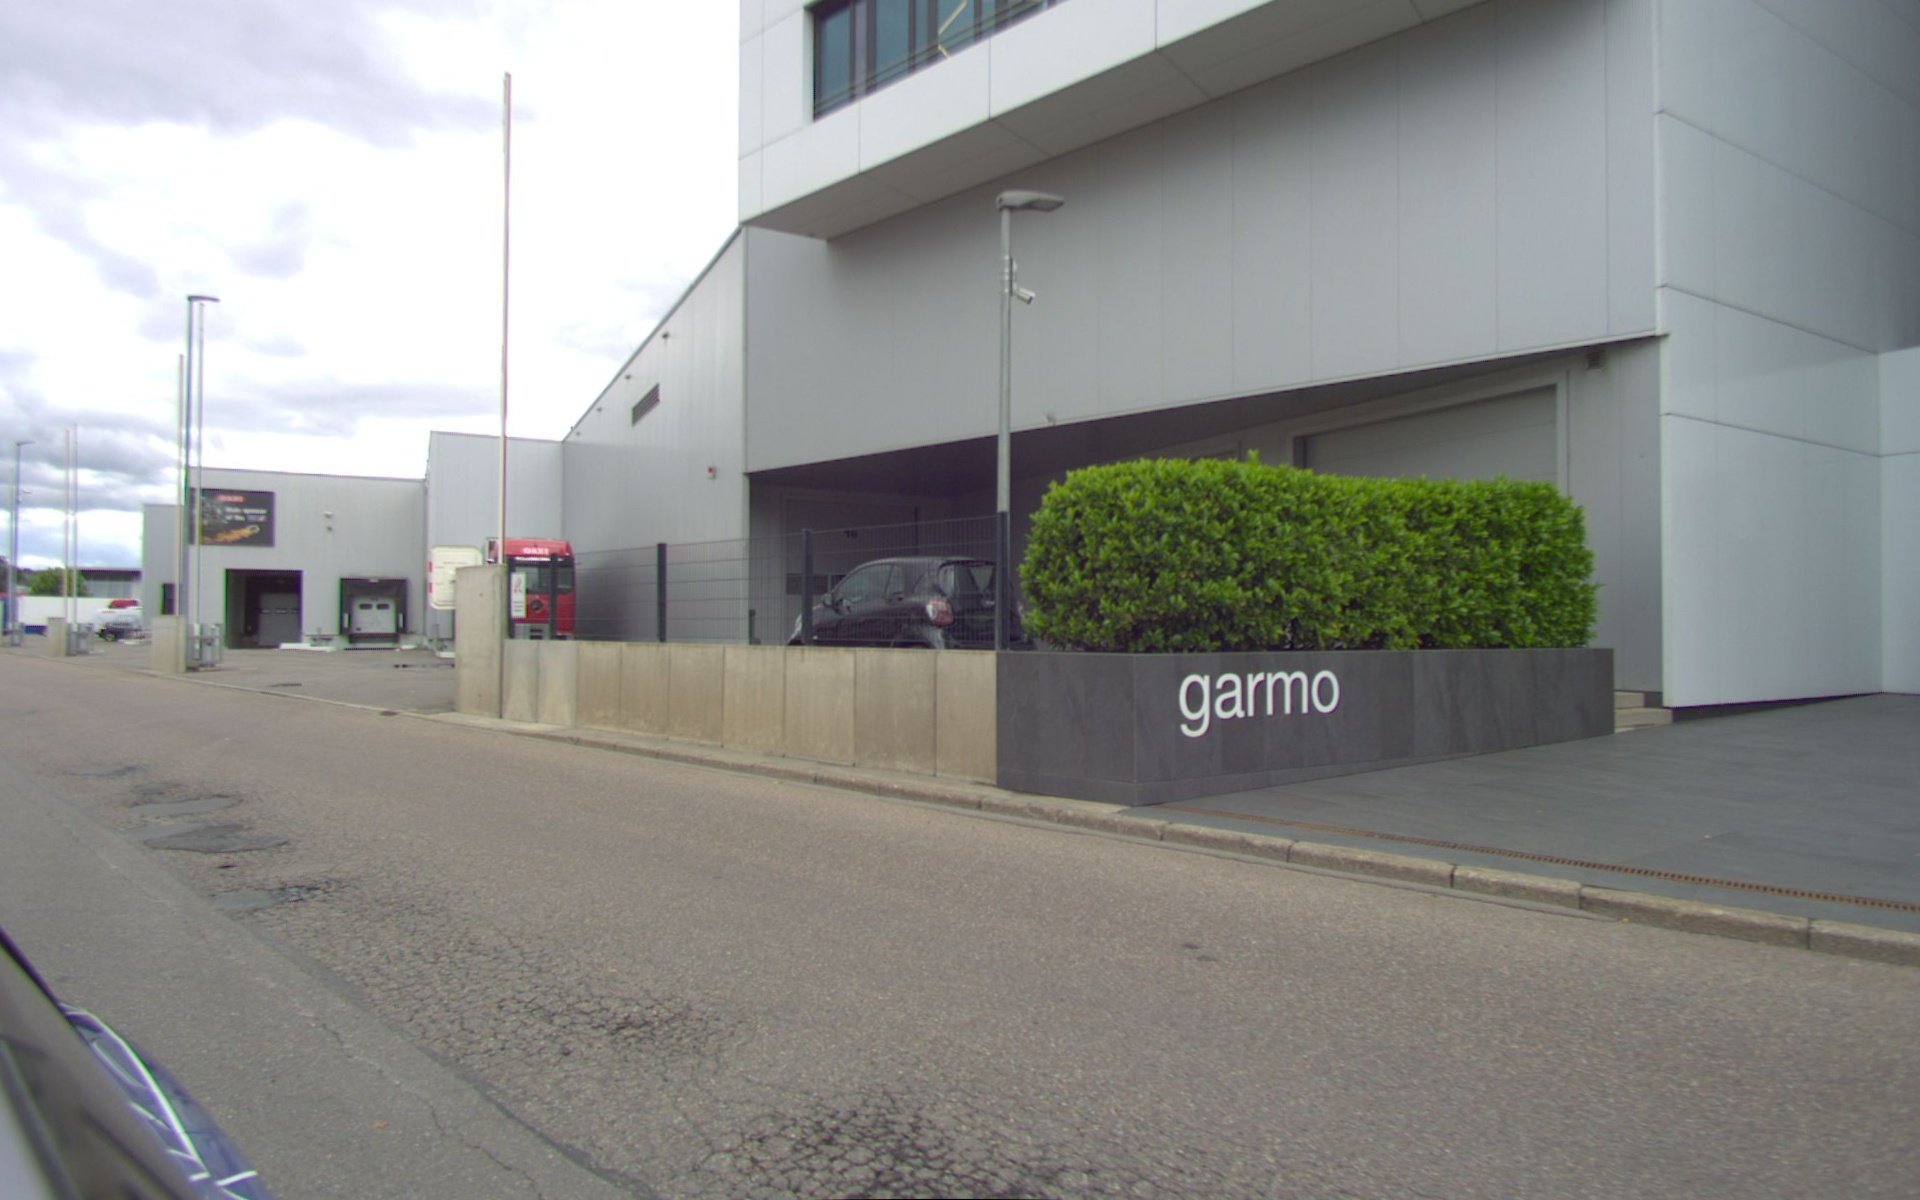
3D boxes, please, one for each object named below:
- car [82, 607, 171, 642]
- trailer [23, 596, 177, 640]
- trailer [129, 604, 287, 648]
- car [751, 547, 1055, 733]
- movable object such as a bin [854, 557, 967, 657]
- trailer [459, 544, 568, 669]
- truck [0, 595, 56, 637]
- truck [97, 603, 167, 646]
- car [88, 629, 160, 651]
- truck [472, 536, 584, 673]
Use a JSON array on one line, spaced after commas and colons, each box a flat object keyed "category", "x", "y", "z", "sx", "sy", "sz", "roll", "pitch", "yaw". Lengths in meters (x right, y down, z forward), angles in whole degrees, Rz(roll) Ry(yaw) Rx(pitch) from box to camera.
[{"category": "car", "x": -68.383, "y": 1.997, "z": 83.139, "sx": 5.341, "sy": 2.751, "sz": 2.248, "roll": -1, "pitch": -2, "yaw": -31}, {"category": "trailer", "x": -90.683, "y": 1.973, "z": 107.101, "sx": 11.842, "sy": 4.164, "sz": 3.057, "roll": 3, "pitch": -4, "yaw": -31}, {"category": "trailer", "x": -79.435, "y": 2.853, "z": 107.374, "sx": 12.962, "sy": 4.245, "sz": 3.058, "roll": 3, "pitch": -3, "yaw": -27}, {"category": "car", "x": -0.707, "y": 0.406, "z": 11.324, "sx": 3.178, "sy": 1.775, "sz": 1.633, "roll": -1, "pitch": -1, "yaw": 42}, {"category": "movable object such as a bin", "x": -1.190, "y": 0.197, "z": 23.843, "sx": 2.117, "sy": 2.239, "sz": 1.758, "roll": 1, "pitch": -2, "yaw": -27}, {"category": "trailer", "x": -17.457, "y": 0.384, "z": 38.982, "sx": 2.704, "sy": 4.062, "sz": 12.656, "roll": 0, "pitch": -2, "yaw": -29}, {"category": "truck", "x": -95.752, "y": 1.675, "z": 103.202, "sx": 3.047, "sy": 4.164, "sz": 4.815, "roll": -2, "pitch": -4, "yaw": 41}, {"category": "truck", "x": -85.288, "y": 2.593, "z": 104.353, "sx": 4.797, "sy": 4.237, "sz": 3.058, "roll": 3, "pitch": -3, "yaw": -27}, {"category": "car", "x": -65.324, "y": 3.091, "z": 79.151, "sx": 4.010, "sy": 1.589, "sz": 1.950, "roll": -1, "pitch": -1, "yaw": -28}, {"category": "truck", "x": -14.513, "y": 0.227, "z": 33.648, "sx": 2.704, "sy": 4.062, "sz": 7.114, "roll": 0, "pitch": -2, "yaw": -29}]
